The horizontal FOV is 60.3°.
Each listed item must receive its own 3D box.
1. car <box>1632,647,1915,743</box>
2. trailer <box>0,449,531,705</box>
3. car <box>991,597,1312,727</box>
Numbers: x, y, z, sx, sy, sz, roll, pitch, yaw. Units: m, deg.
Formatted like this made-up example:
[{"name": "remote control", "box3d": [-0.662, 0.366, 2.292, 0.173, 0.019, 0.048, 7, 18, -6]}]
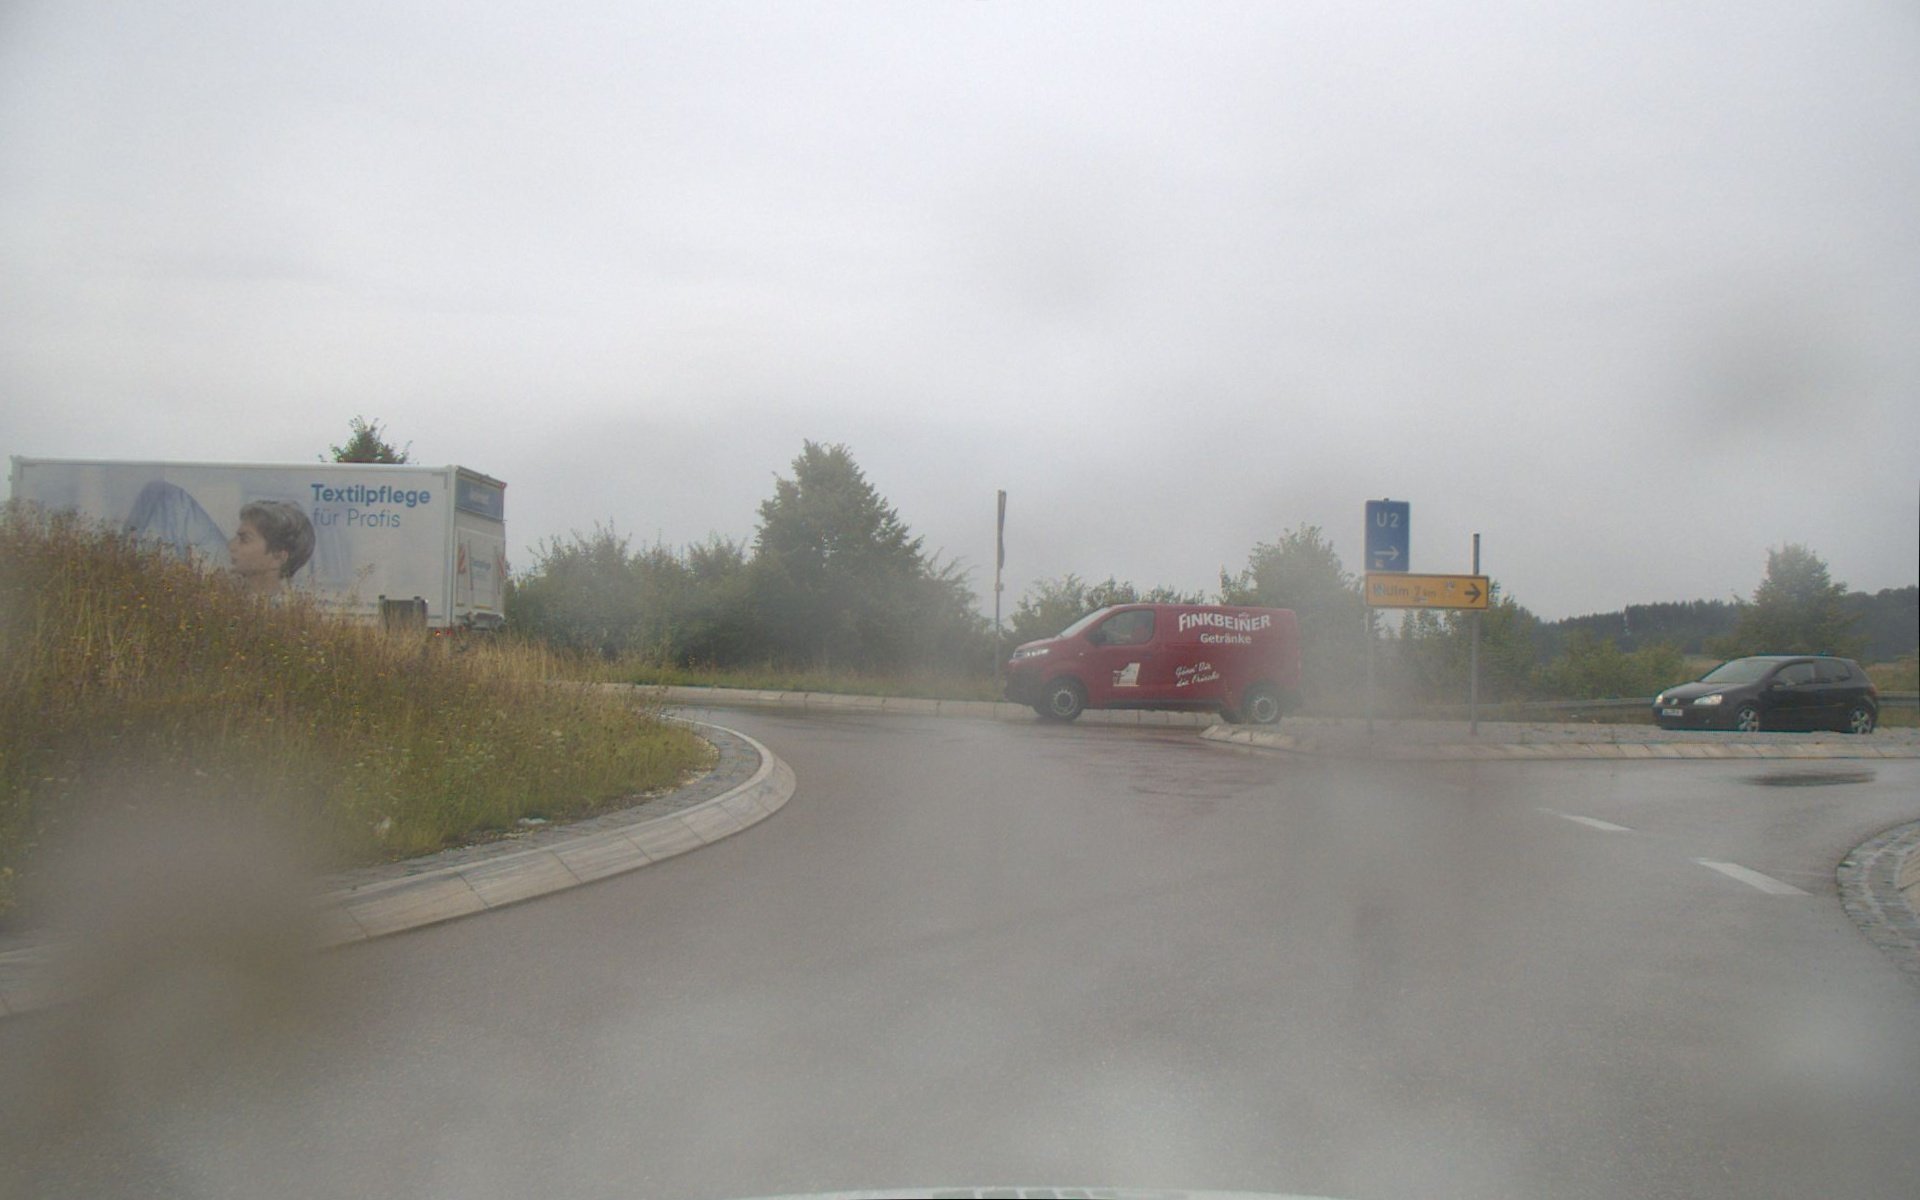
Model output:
[{"name": "car", "box3d": [14.306, 1.669, 29.116, 4.419, 1.446, 1.865, 3, -1, -18]}, {"name": "trailer", "box3d": [-12.326, -0.363, 27.576, 9.482, 3.886, 2.841, 1, -1, 1]}, {"name": "car", "box3d": [3.075, 1.002, 27.079, 4.868, 1.903, 1.997, 2, -1, -7]}]
